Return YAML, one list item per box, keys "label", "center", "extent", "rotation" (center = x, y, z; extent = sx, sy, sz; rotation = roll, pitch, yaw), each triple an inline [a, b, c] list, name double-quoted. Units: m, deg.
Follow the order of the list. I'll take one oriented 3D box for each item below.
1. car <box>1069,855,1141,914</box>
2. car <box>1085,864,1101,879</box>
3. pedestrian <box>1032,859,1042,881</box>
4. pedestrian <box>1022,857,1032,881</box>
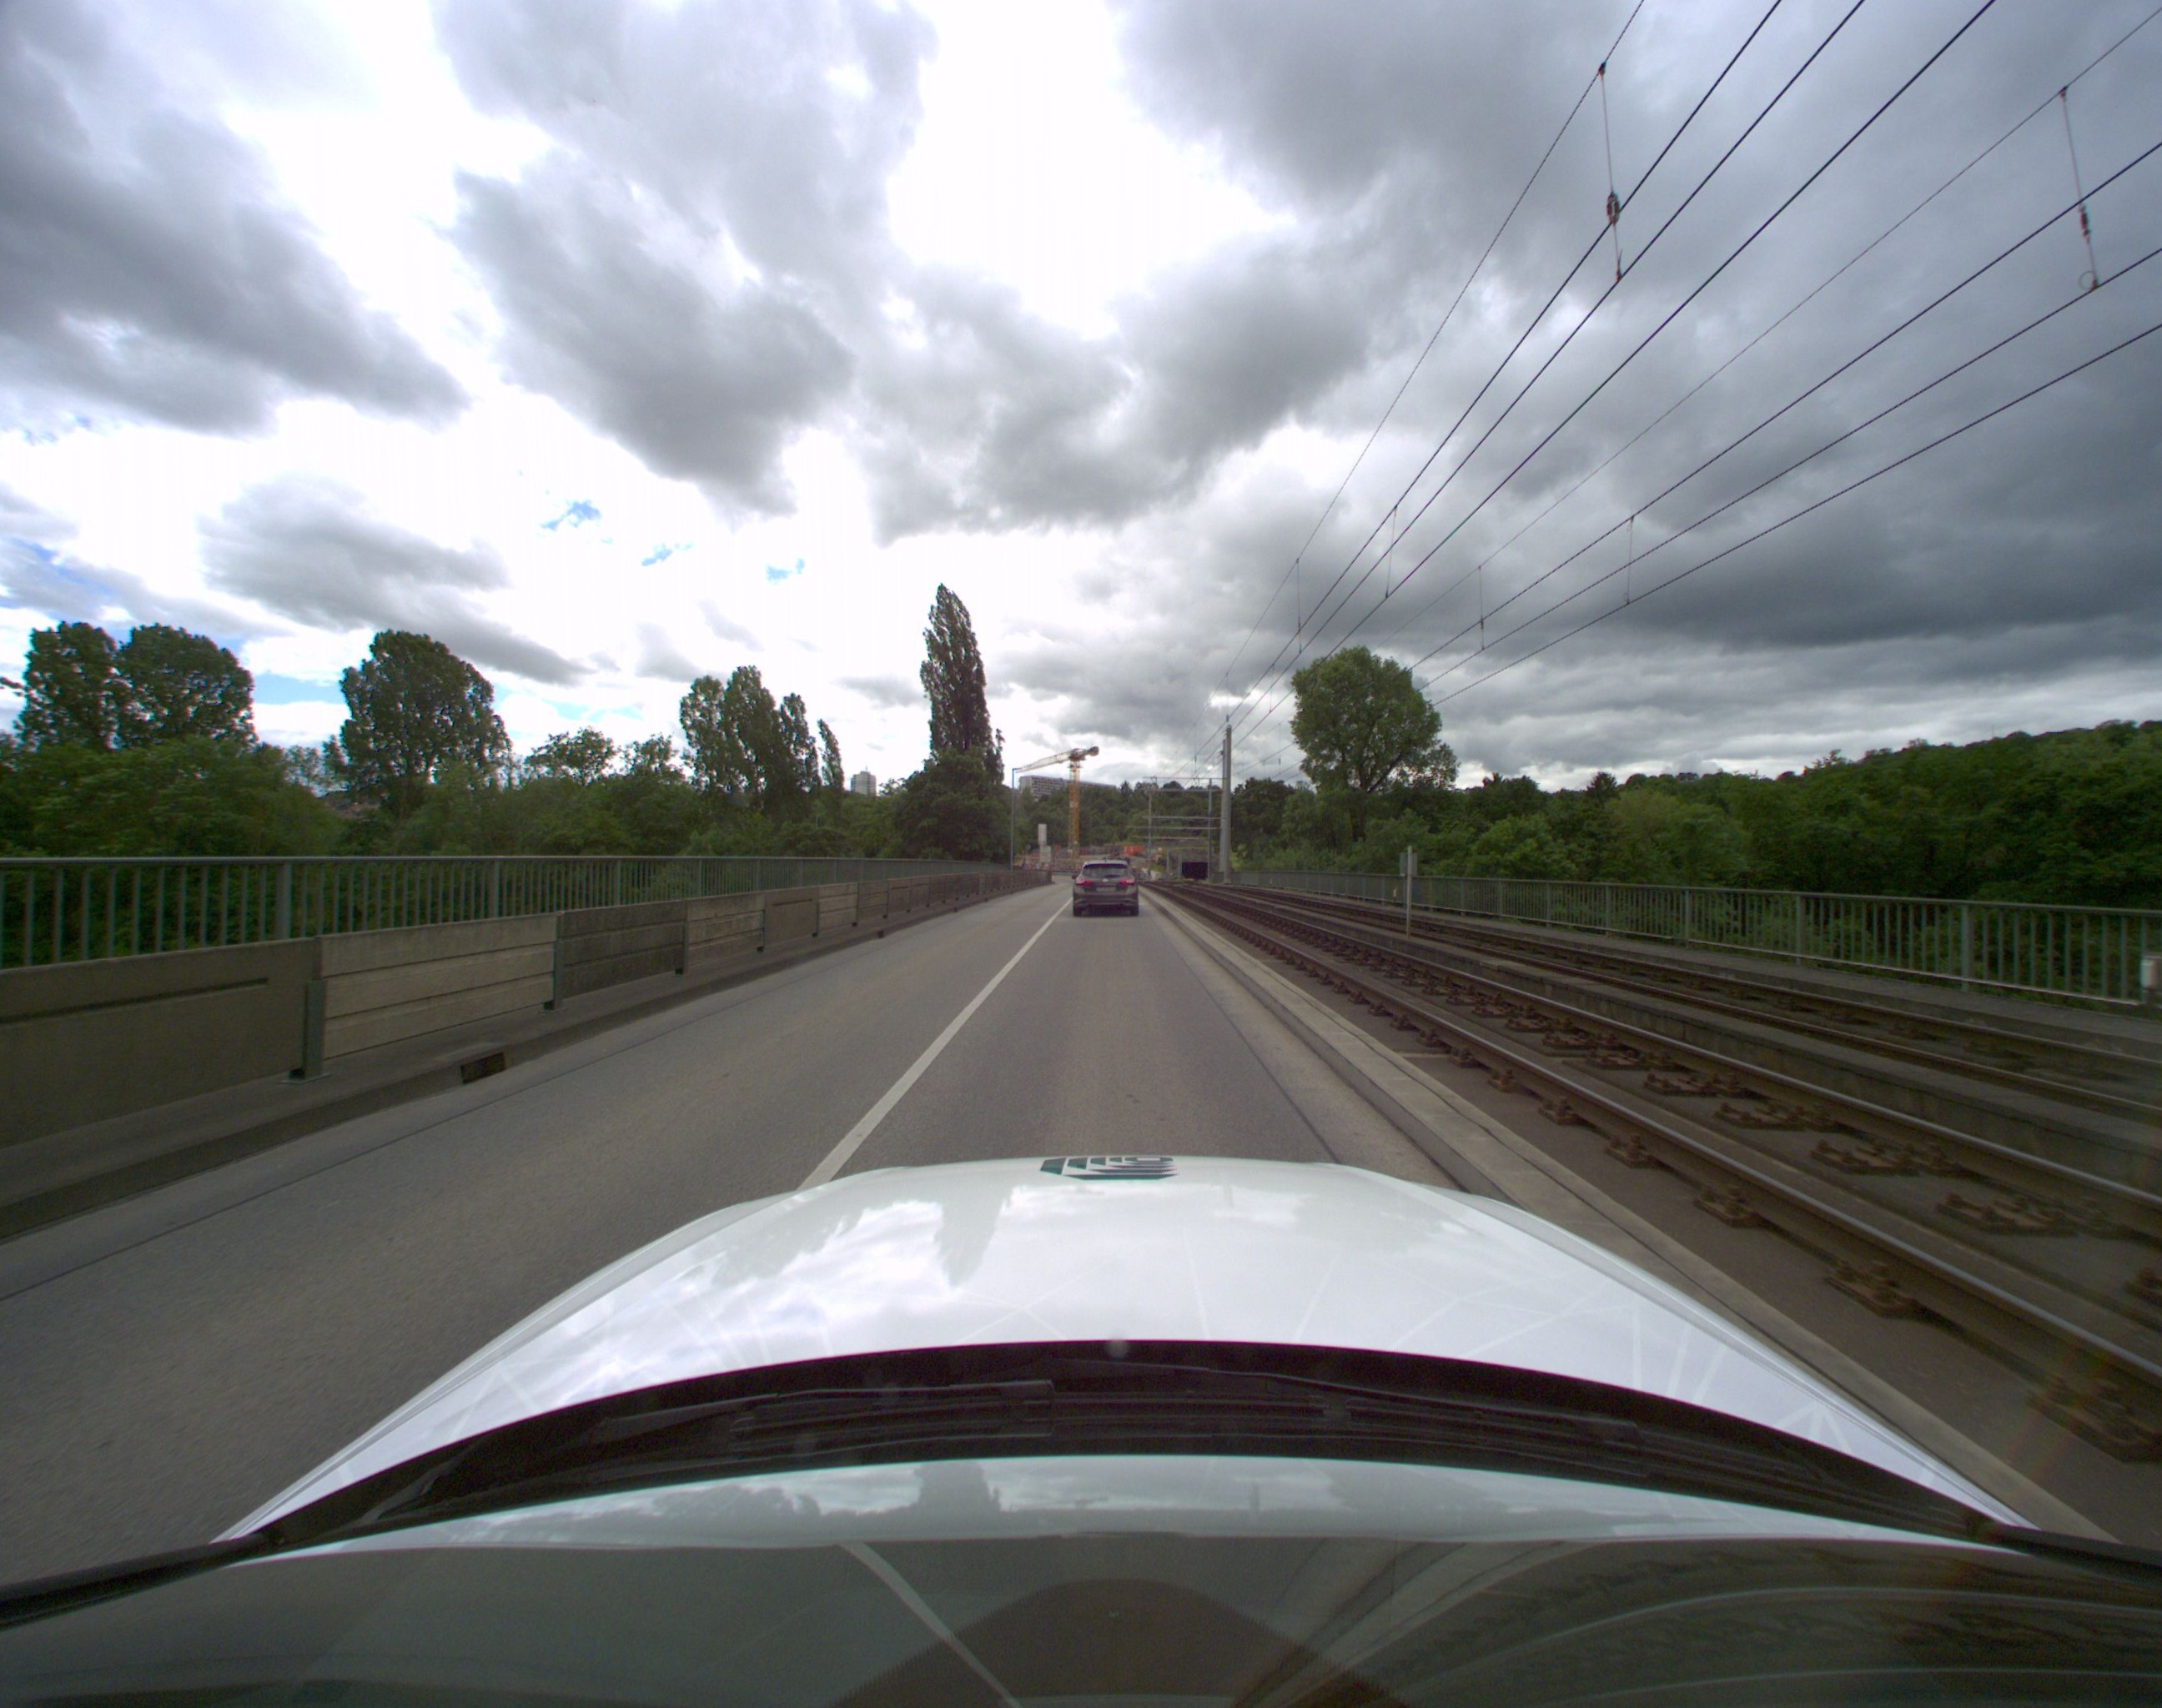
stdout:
- label: "car"
  center: [0.594, 0.822, 23.148]
  extent: [1.825, 1.510, 3.997]
  rotation: [0, -1, -2]
- label: "car"
  center: [1.315, 1.881, 90.036]
  extent: [1.675, 1.606, 4.306]
  rotation: [0, 0, -2]
- label: "pedestrian"
  center: [-3.381, 1.206, 62.716]
  extent: [0.718, 1.701, 0.723]
  rotation: [1, -1, 1]
- label: "pedestrian"
  center: [-4.227, 1.163, 63.759]
  extent: [0.718, 1.840, 0.723]
  rotation: [1, -1, 1]
